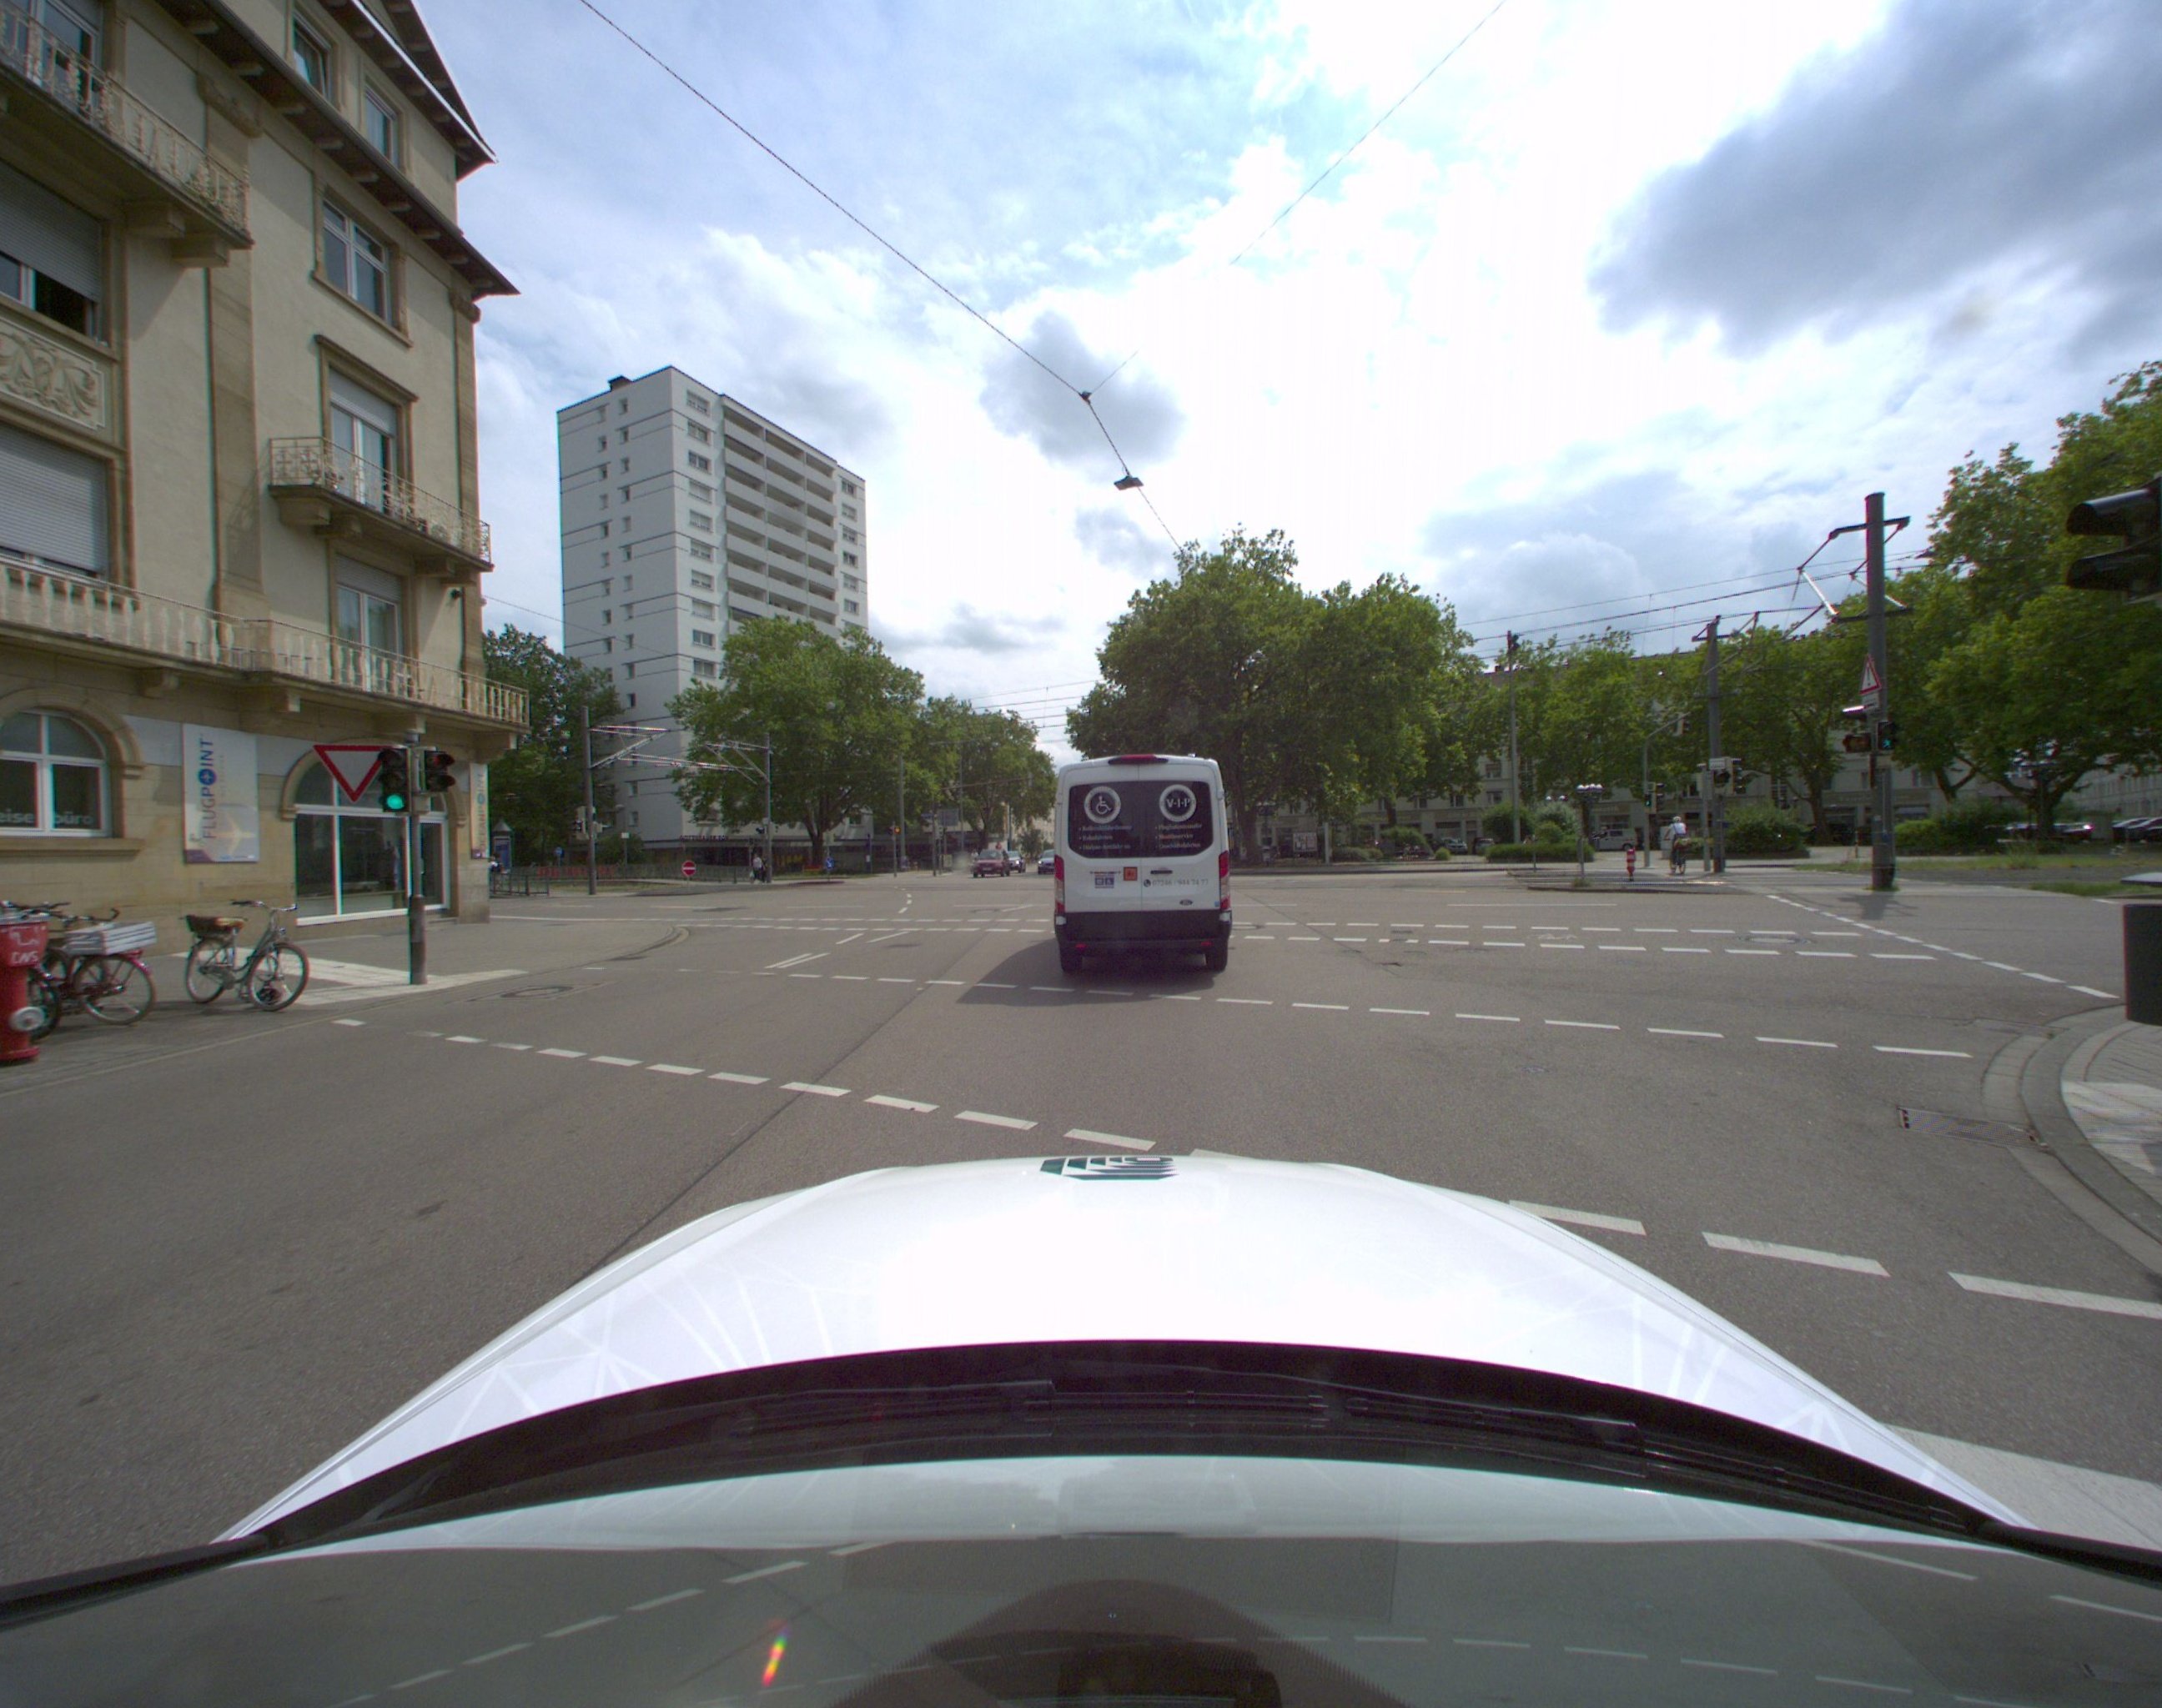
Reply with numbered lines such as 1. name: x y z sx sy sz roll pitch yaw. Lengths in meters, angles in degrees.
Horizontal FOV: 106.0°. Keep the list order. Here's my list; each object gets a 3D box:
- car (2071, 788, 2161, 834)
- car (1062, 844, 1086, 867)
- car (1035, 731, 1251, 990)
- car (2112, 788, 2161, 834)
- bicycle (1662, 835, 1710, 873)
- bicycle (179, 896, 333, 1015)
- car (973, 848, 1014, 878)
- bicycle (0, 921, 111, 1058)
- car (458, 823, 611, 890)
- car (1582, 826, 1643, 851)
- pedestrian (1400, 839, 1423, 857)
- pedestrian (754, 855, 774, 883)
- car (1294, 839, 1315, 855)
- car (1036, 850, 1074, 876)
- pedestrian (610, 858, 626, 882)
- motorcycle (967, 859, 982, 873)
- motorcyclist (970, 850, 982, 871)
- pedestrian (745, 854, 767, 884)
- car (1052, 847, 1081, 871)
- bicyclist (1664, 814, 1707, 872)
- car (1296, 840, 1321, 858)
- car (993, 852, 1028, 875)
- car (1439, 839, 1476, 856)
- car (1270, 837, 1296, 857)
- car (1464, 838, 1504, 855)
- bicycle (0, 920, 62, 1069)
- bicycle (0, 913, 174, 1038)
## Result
1. car: 65.823 -2.669 50.326 5.271 2.585 2.512 -2 -1 23
2. car: -0.606 0.125 72.795 1.735 1.930 4.859 -2 0 4
3. car: 0.674 0.021 10.993 2.175 2.647 4.628 -3 1 0
4. car: 64.904 -2.597 47.502 5.271 2.585 2.512 -2 -1 23
5. bicycle: 18.052 -0.022 24.334 0.894 1.075 1.982 -2 0 29
6. bicycle: -9.139 1.081 9.013 1.859 1.167 0.500 0 0 22
7. car: -4.673 0.432 43.796 1.585 1.507 3.809 -2 0 2
8. bicycle: -9.940 1.184 7.210 1.807 1.120 0.593 0 0 -7
9. car: -34.569 0.219 51.448 9.793 3.915 3.476 -2 0 26
10. car: 43.274 -1.281 66.385 3.950 1.883 1.868 -2 0 25
11. pedestrian: 23.767 -0.417 58.600 1.086 1.236 1.443 -4 -1 6
12. pedestrian: -17.443 0.811 44.782 0.727 1.514 0.921 -2 0 -40
13. car: 25.410 -0.789 92.505 1.788 1.684 4.022 -2 0 23
14. car: -1.512 0.486 48.388 1.824 1.427 4.125 -2 0 4
15. pedestrian: -37.186 1.290 65.366 0.755 1.884 0.745 -2 0 28
16. motorcycle: -7.485 0.832 57.358 0.680 0.971 2.324 -2 0 2
17. motorcyclist: -7.478 0.458 57.957 0.680 1.395 0.682 -2 0 1
18. pedestrian: -17.391 0.788 43.545 0.799 1.572 0.728 -2 0 30
19. car: -1.014 0.336 59.541 1.735 1.587 4.333 -2 0 4
20. bicyclist: 18.000 -0.323 24.281 0.895 1.683 0.761 -2 0 29
21. car: 22.983 -0.539 82.293 1.795 1.684 4.007 -2 0 6
22. car: -4.772 0.607 55.382 1.735 1.427 4.036 -2 0 4
23. car: 35.174 -0.610 76.213 1.983 1.503 4.007 -2 0 6
24. car: 20.504 -0.698 82.822 1.983 1.930 4.007 -2 0 6
25. car: 37.397 -0.682 75.674 1.983 1.519 4.007 -2 0 6
26. bicycle: -9.628 1.149 6.593 1.807 1.166 0.593 0 0 -7
27. bicycle: -10.130 1.157 7.910 1.807 1.120 0.593 0 0 -7
